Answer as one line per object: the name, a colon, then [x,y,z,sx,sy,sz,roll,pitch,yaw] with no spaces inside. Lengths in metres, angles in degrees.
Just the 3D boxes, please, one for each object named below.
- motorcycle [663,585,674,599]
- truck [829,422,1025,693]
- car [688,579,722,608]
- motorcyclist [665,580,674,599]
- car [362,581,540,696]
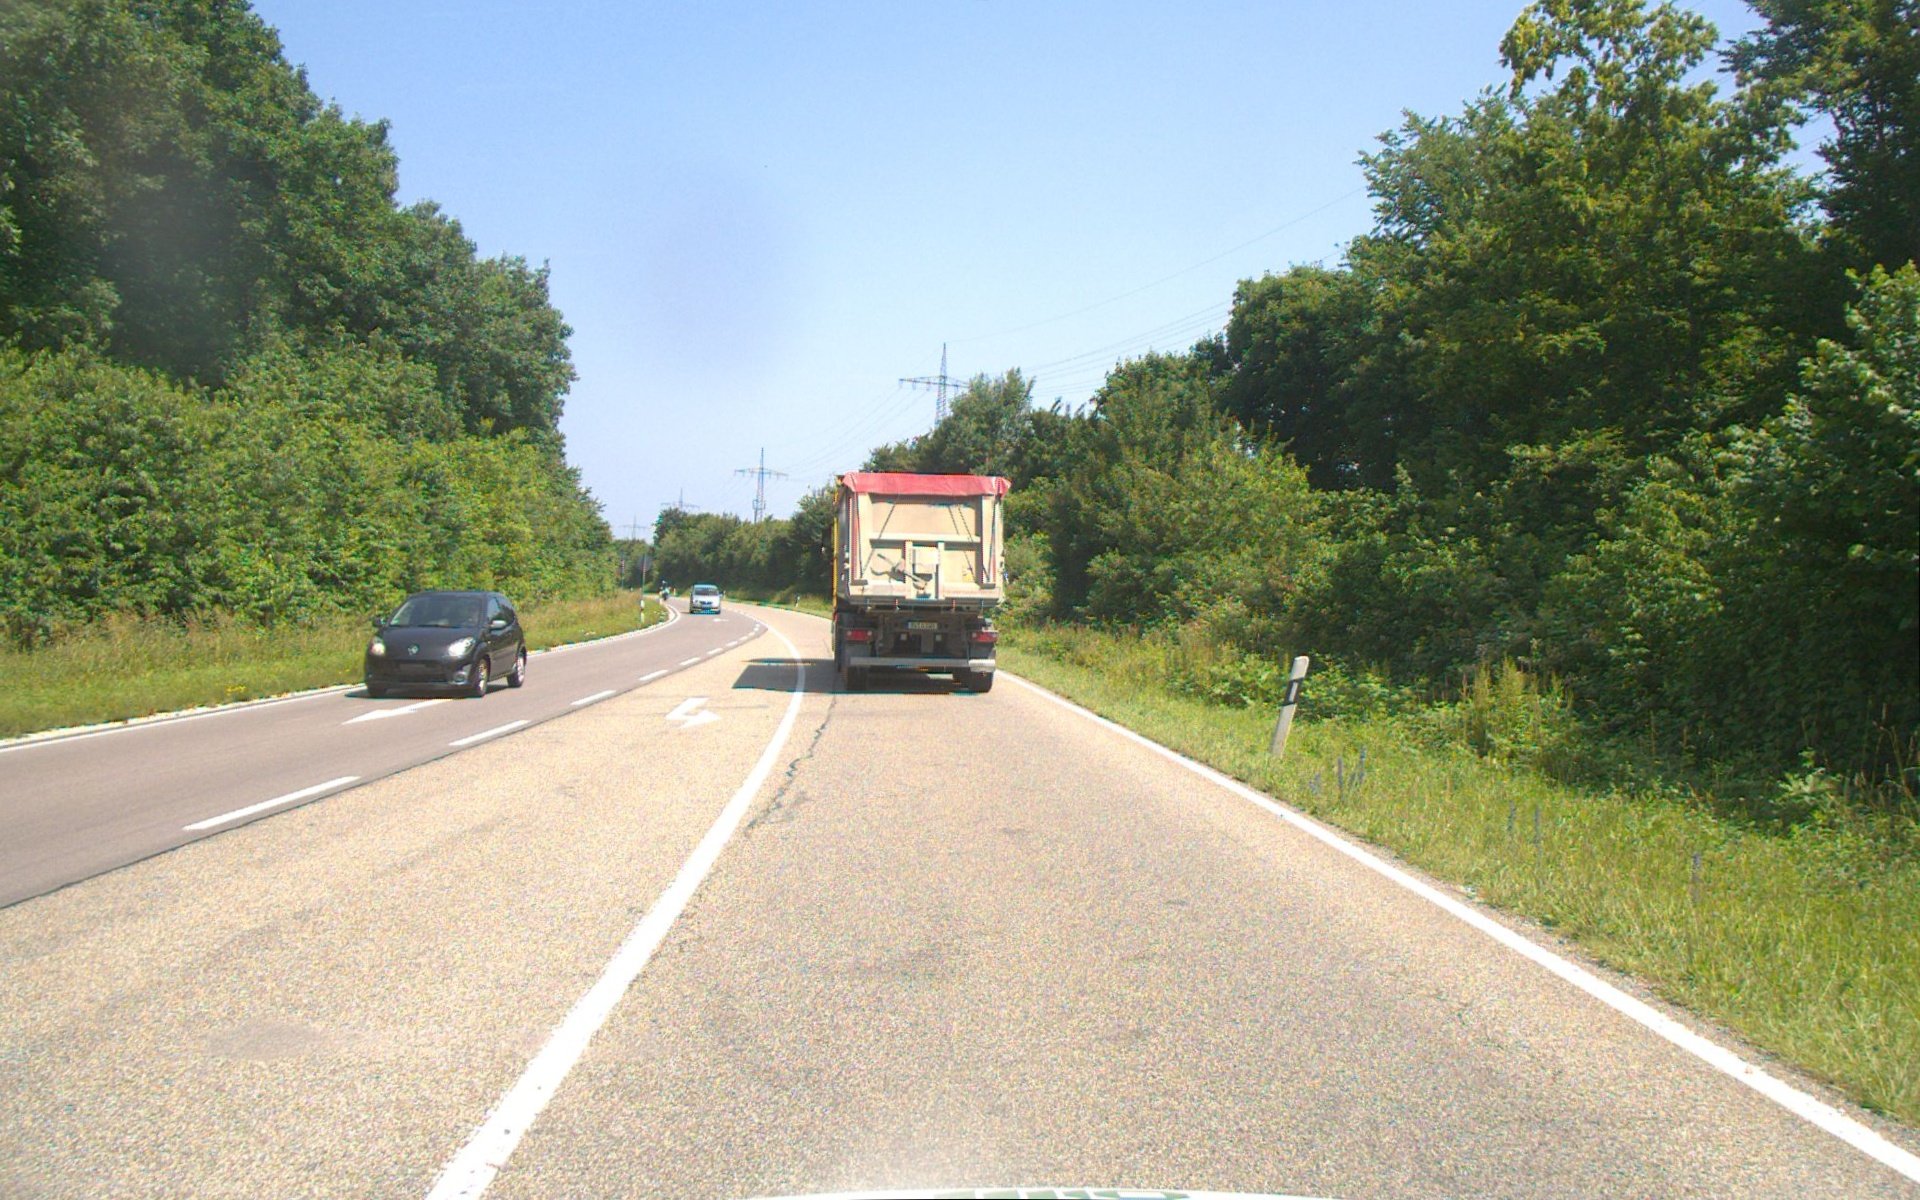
motorcycle: [-26.648,-0.710,151.215,0.929,1.272,2.676,1,0,-10]
truck: [-0.958,-0.677,30.934,2.837,4.031,11.920,1,0,-5]
car: [-14.838,-0.373,96.401,1.768,1.665,4.206,1,0,-6]
motorcyclist: [-26.638,-0.973,151.738,0.815,1.782,0.622,1,0,-10]
car: [-7.345,0.518,24.195,1.582,1.528,3.551,1,0,-2]
